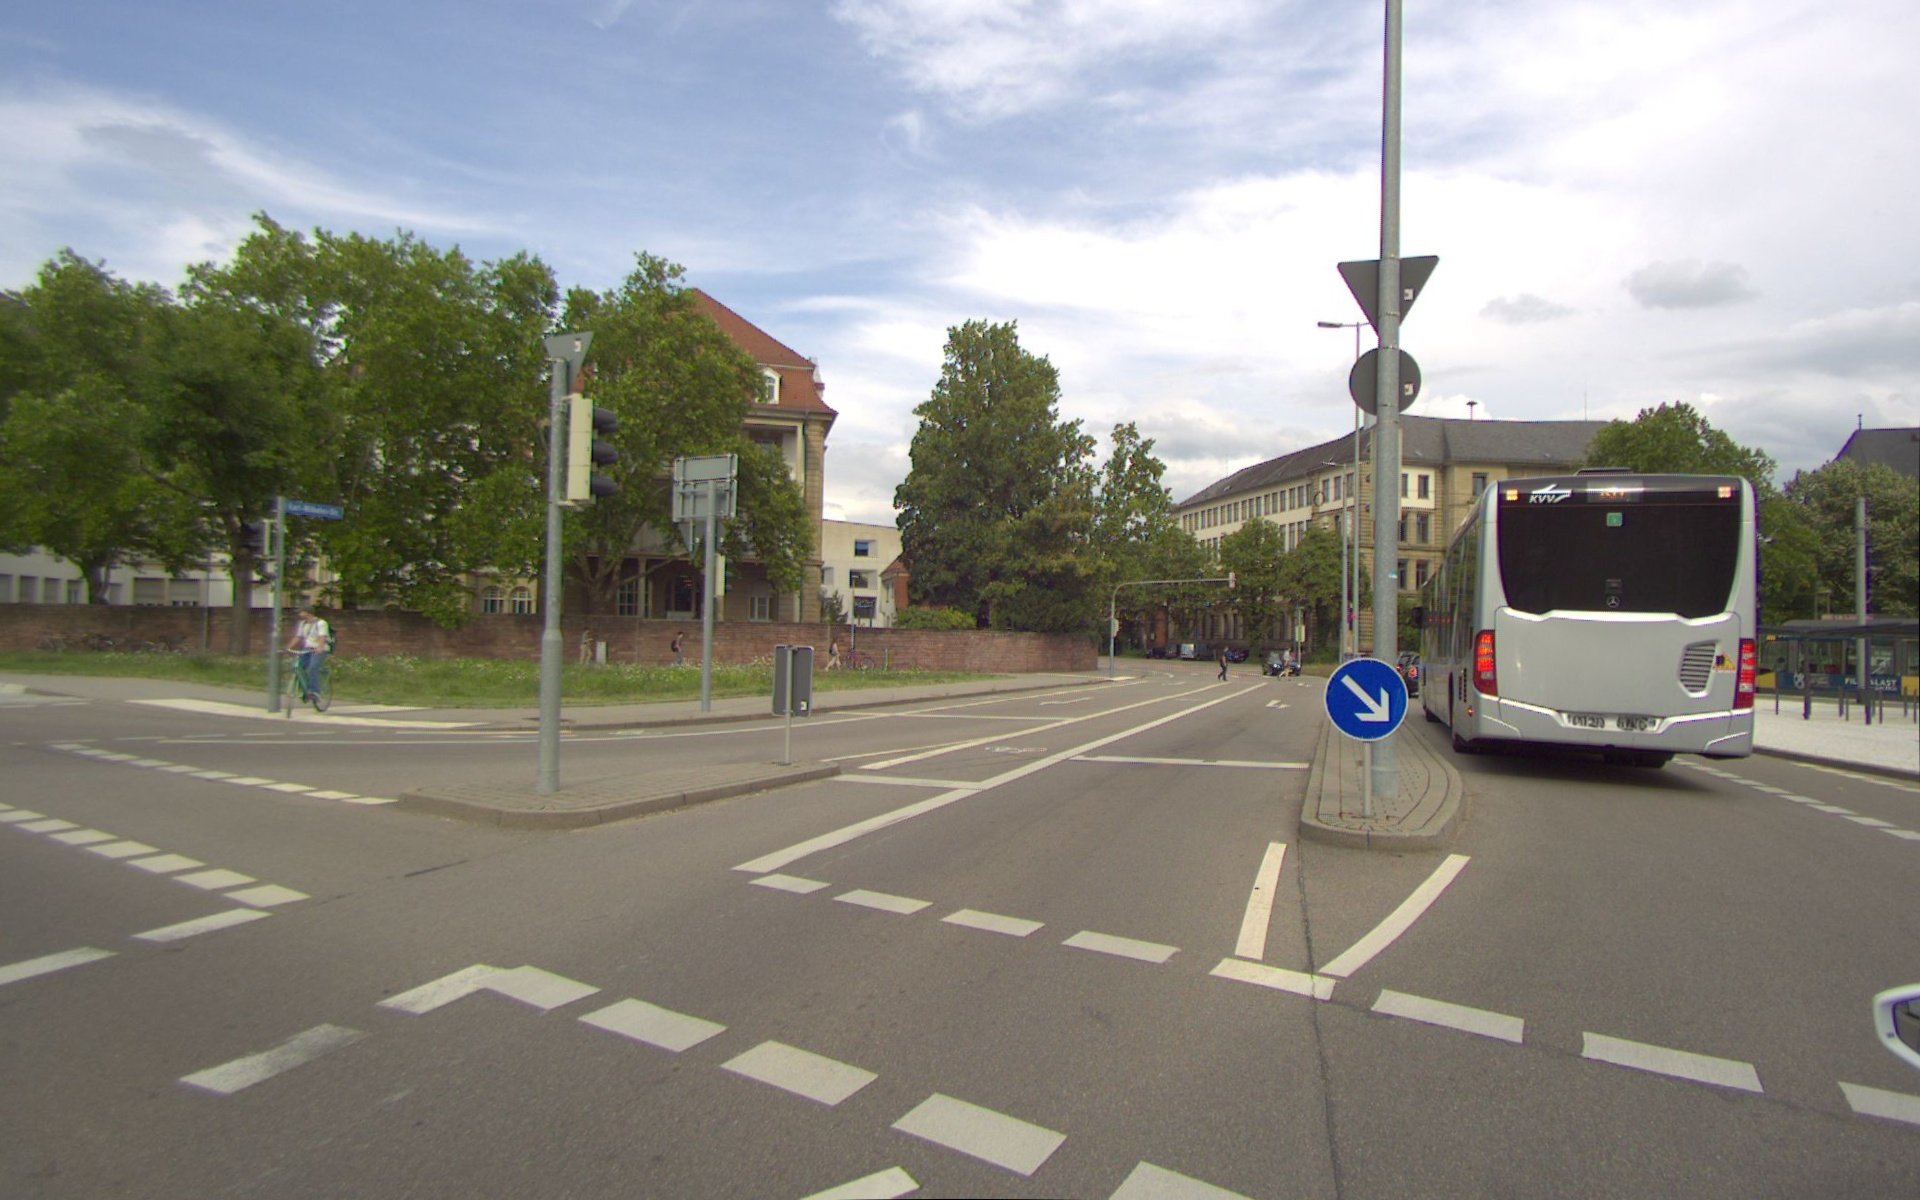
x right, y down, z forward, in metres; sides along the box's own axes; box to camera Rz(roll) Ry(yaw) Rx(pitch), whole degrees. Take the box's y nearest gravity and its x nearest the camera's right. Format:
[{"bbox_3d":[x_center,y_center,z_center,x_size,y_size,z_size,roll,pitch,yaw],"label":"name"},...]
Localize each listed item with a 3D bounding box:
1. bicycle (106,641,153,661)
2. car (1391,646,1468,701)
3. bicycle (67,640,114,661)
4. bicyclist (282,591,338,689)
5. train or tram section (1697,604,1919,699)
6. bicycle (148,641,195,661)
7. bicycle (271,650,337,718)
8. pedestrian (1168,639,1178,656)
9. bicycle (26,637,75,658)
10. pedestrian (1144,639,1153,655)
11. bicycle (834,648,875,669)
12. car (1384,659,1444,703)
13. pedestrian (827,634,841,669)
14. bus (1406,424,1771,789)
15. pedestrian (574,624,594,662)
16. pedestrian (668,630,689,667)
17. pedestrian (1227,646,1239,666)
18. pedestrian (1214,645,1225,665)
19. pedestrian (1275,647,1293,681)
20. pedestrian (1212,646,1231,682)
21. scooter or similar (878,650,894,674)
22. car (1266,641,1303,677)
[{"bbox_3d":[-36.514,2.240,44.159,1.852,0.875,0.359,0,-4,5],"label":"bicycle"},{"bbox_3d":[15.365,2.342,33.056,1.961,1.506,3.999,0,0,20],"label":"car"},{"bbox_3d":[-38.353,2.223,44.294,1.773,0.875,0.359,0,-4,3],"label":"bicycle"},{"bbox_3d":[-10.767,0.648,16.659,0.571,1.576,0.794,3,-1,-22],"label":"bicyclist"},{"bbox_3d":[34.481,1.854,39.301,3.010,3.321,9.344,1,0,-14],"label":"train or tram section"},{"bbox_3d":[-34.978,2.257,44.561,1.675,0.875,0.359,1,-4,-2],"label":"bicycle"},{"bbox_3d":[-10.725,1.347,16.469,0.499,0.948,1.961,3,-1,-22],"label":"bicycle"},{"bbox_3d":[25.504,5.696,120.405,0.873,2.040,1.008,1,-2,-5],"label":"pedestrian"},{"bbox_3d":[-40.159,2.098,44.353,1.786,0.875,0.359,1,-4,1],"label":"bicycle"},{"bbox_3d":[23.619,5.880,126.105,0.873,2.040,1.008,1,-2,-5],"label":"pedestrian"},{"bbox_3d":[-5.284,2.902,50.078,1.897,1.018,0.775,1,0,-21],"label":"bicycle"},{"bbox_3d":[17.870,3.144,39.699,1.961,1.380,4.273,0,0,22],"label":"car"},{"bbox_3d":[-6.149,2.524,48.966,0.619,1.677,0.530,1,0,-16],"label":"pedestrian"},{"bbox_3d":[9.127,0.471,16.629,2.661,3.483,14.184,1,-3,22],"label":"bus"},{"bbox_3d":[-16.935,1.935,45.211,0.773,1.677,0.572,1,0,-31],"label":"pedestrian"},{"bbox_3d":[-12.930,2.222,46.133,0.774,1.677,0.571,1,0,-36],"label":"pedestrian"},{"bbox_3d":[28.426,5.816,104.573,0.873,2.040,1.008,1,-2,-5],"label":"pedestrian"},{"bbox_3d":[27.904,5.930,108.145,0.873,2.040,1.008,1,-2,-5],"label":"pedestrian"},{"bbox_3d":[16.964,3.343,52.549,0.785,1.734,0.839,1,0,26],"label":"pedestrian"},{"bbox_3d":[13.358,3.260,51.318,0.785,1.734,0.839,1,0,26],"label":"pedestrian"},{"bbox_3d":[-3.764,3.137,50.972,0.509,1.154,1.520,1,0,8],"label":"scooter or similar"},{"bbox_3d":[20.626,3.710,63.990,1.960,2.040,4.002,1,0,14],"label":"car"}]
